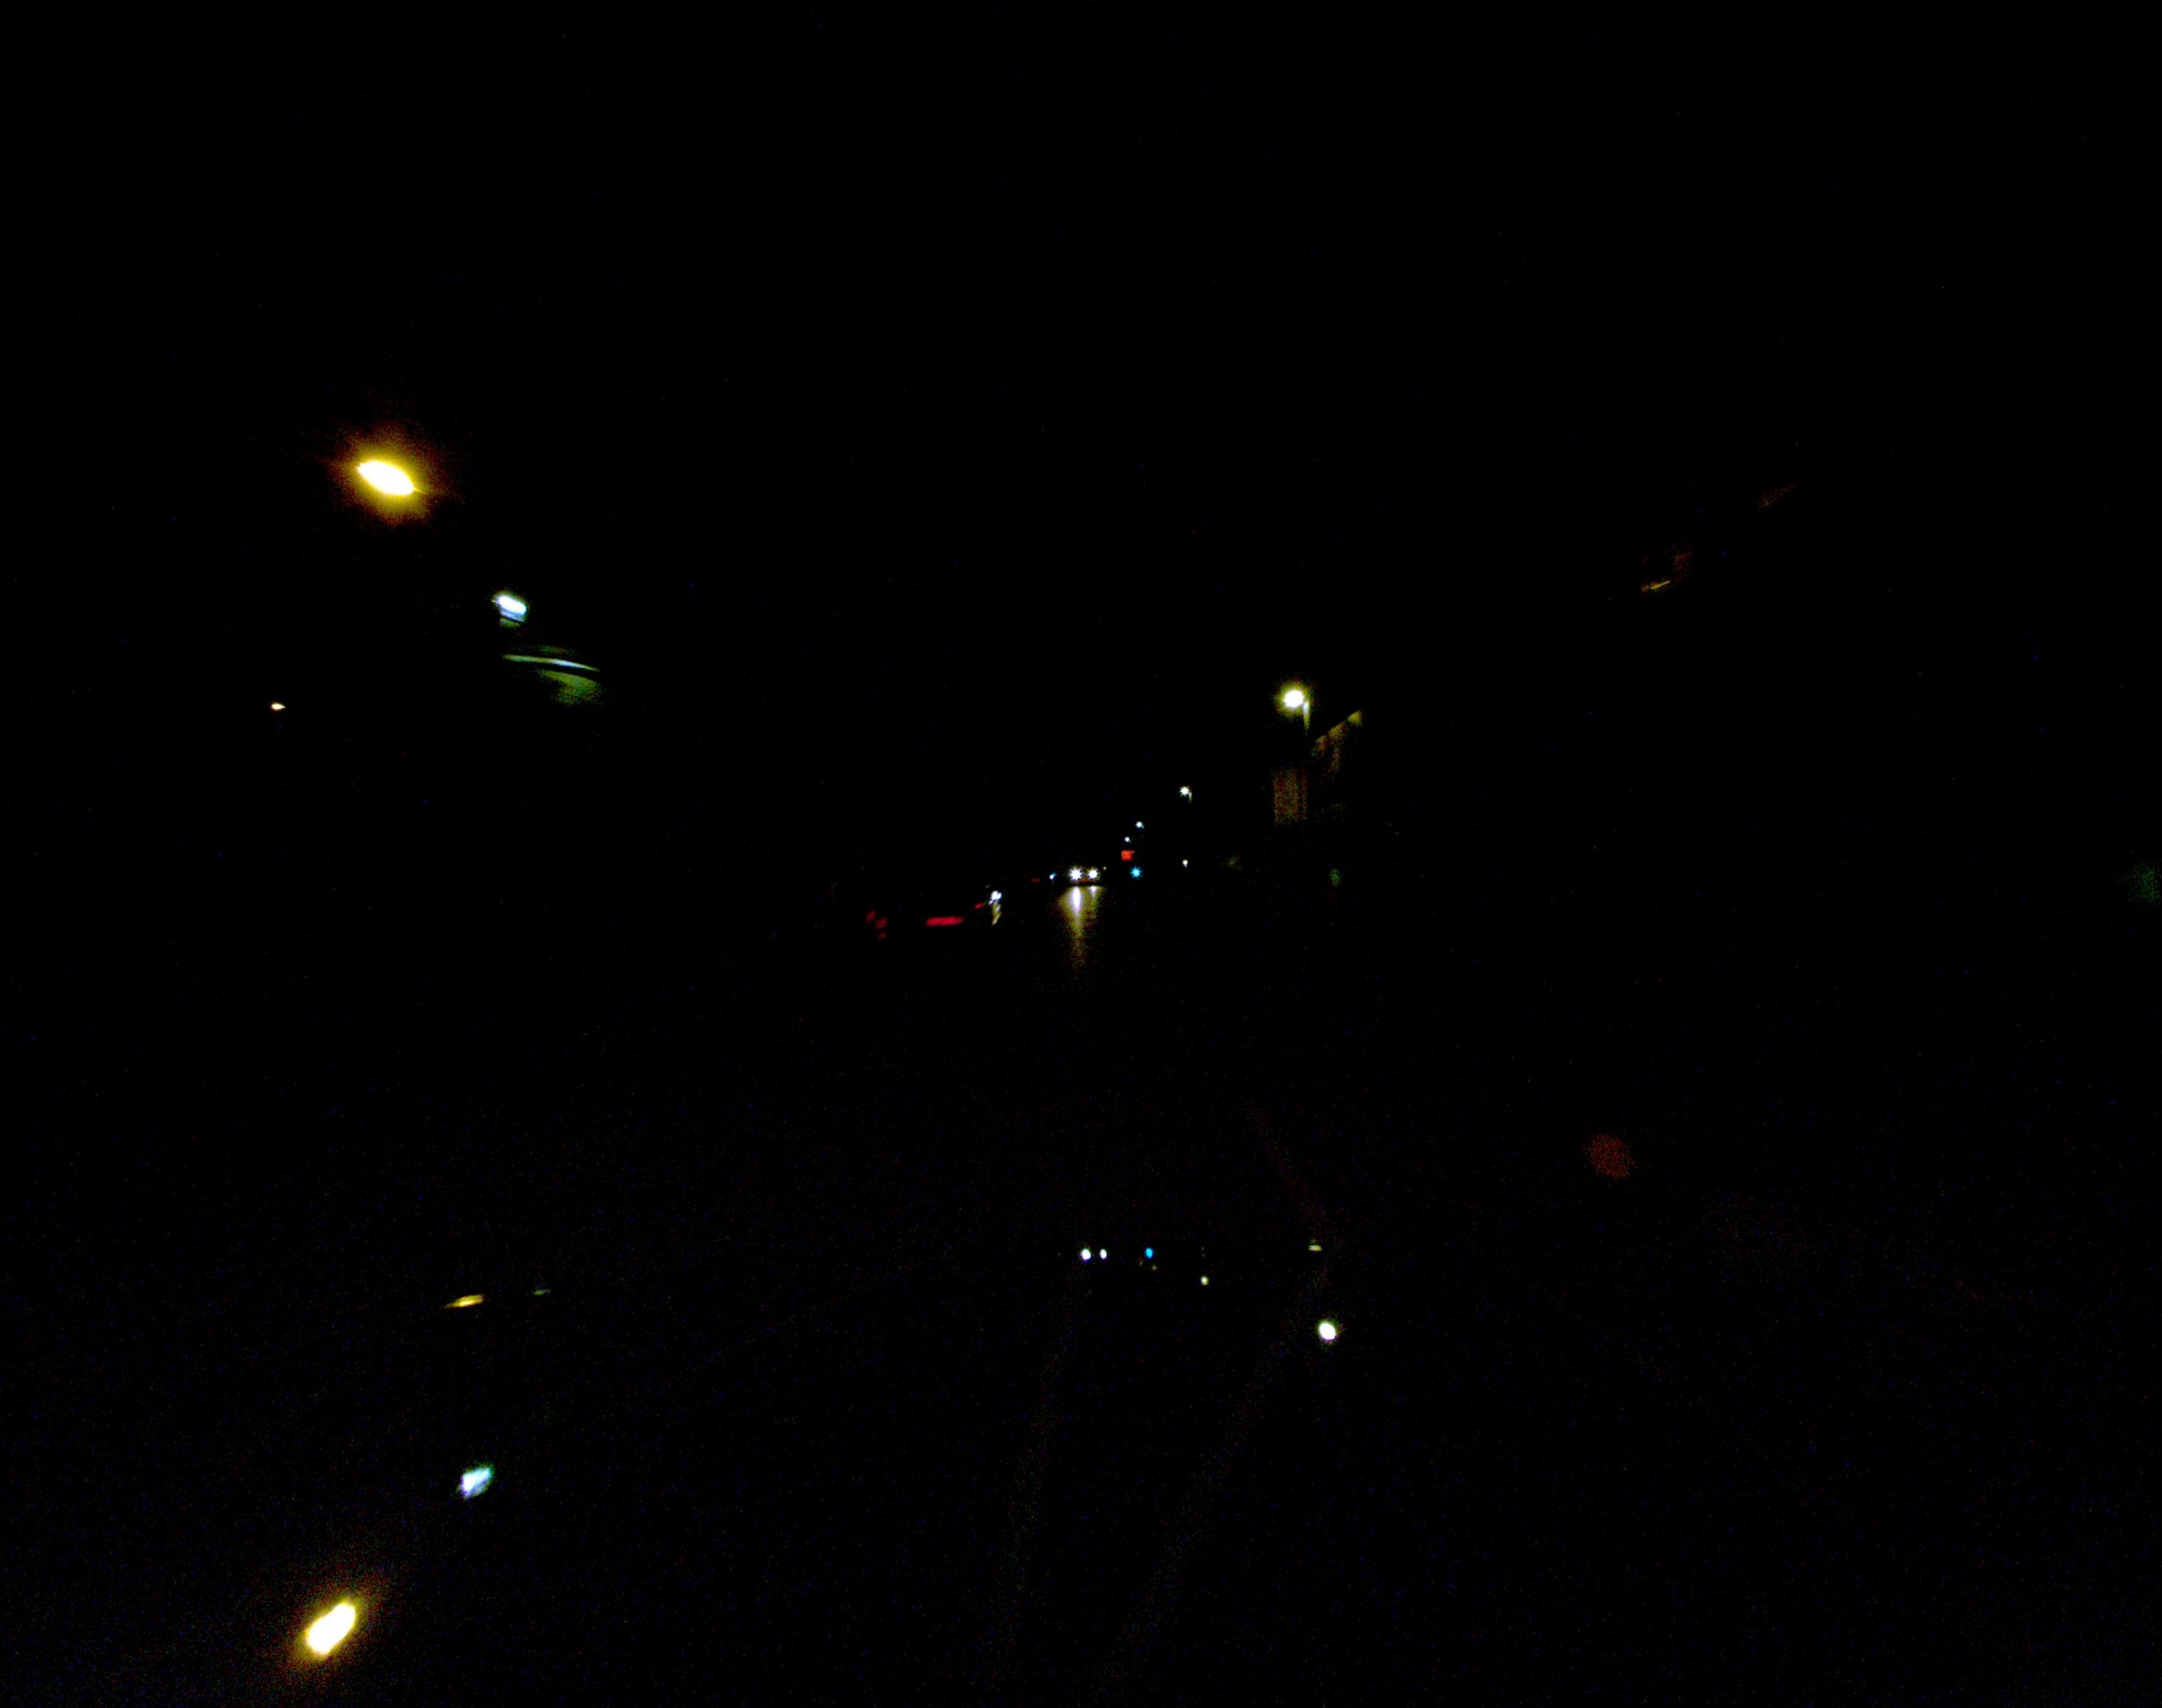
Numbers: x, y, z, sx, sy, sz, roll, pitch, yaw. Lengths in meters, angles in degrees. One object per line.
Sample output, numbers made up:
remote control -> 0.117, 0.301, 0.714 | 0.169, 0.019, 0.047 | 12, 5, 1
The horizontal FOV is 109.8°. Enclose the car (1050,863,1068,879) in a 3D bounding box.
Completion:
car -> -2.169, 1.709, 74.811 | 1.613, 1.452, 3.718 | 1, -3, 1

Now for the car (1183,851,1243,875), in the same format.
car -> 9.264, 0.653, 53.414 | 3.820, 1.545, 1.928 | -2, -2, 0

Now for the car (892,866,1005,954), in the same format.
car -> -2.658, 1.063, 16.127 | 1.768, 1.467, 4.275 | -3, 0, -3

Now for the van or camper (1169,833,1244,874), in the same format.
van or camper -> 9.877, -0.054, 59.985 | 5.416, 3.092, 2.131 | -1, 0, -9

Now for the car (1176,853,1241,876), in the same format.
car -> 9.380, 0.768, 56.240 | 4.427, 1.604, 2.065 | -1, 0, 2

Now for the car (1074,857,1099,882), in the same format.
car -> 0.403, 1.031, 48.486 | 1.513, 1.492, 3.051 | -1, -2, 1

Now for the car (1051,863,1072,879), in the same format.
car -> -2.005, 1.798, 79.319 | 1.759, 1.584, 4.730 | -3, -2, 2

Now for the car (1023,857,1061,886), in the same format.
car -> -2.310, 1.031, 46.420 | 1.836, 1.654, 4.619 | -2, 0, 3

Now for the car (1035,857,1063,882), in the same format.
car -> -2.371, 1.202, 57.540 | 1.723, 1.750, 4.759 | -3, -1, 1
